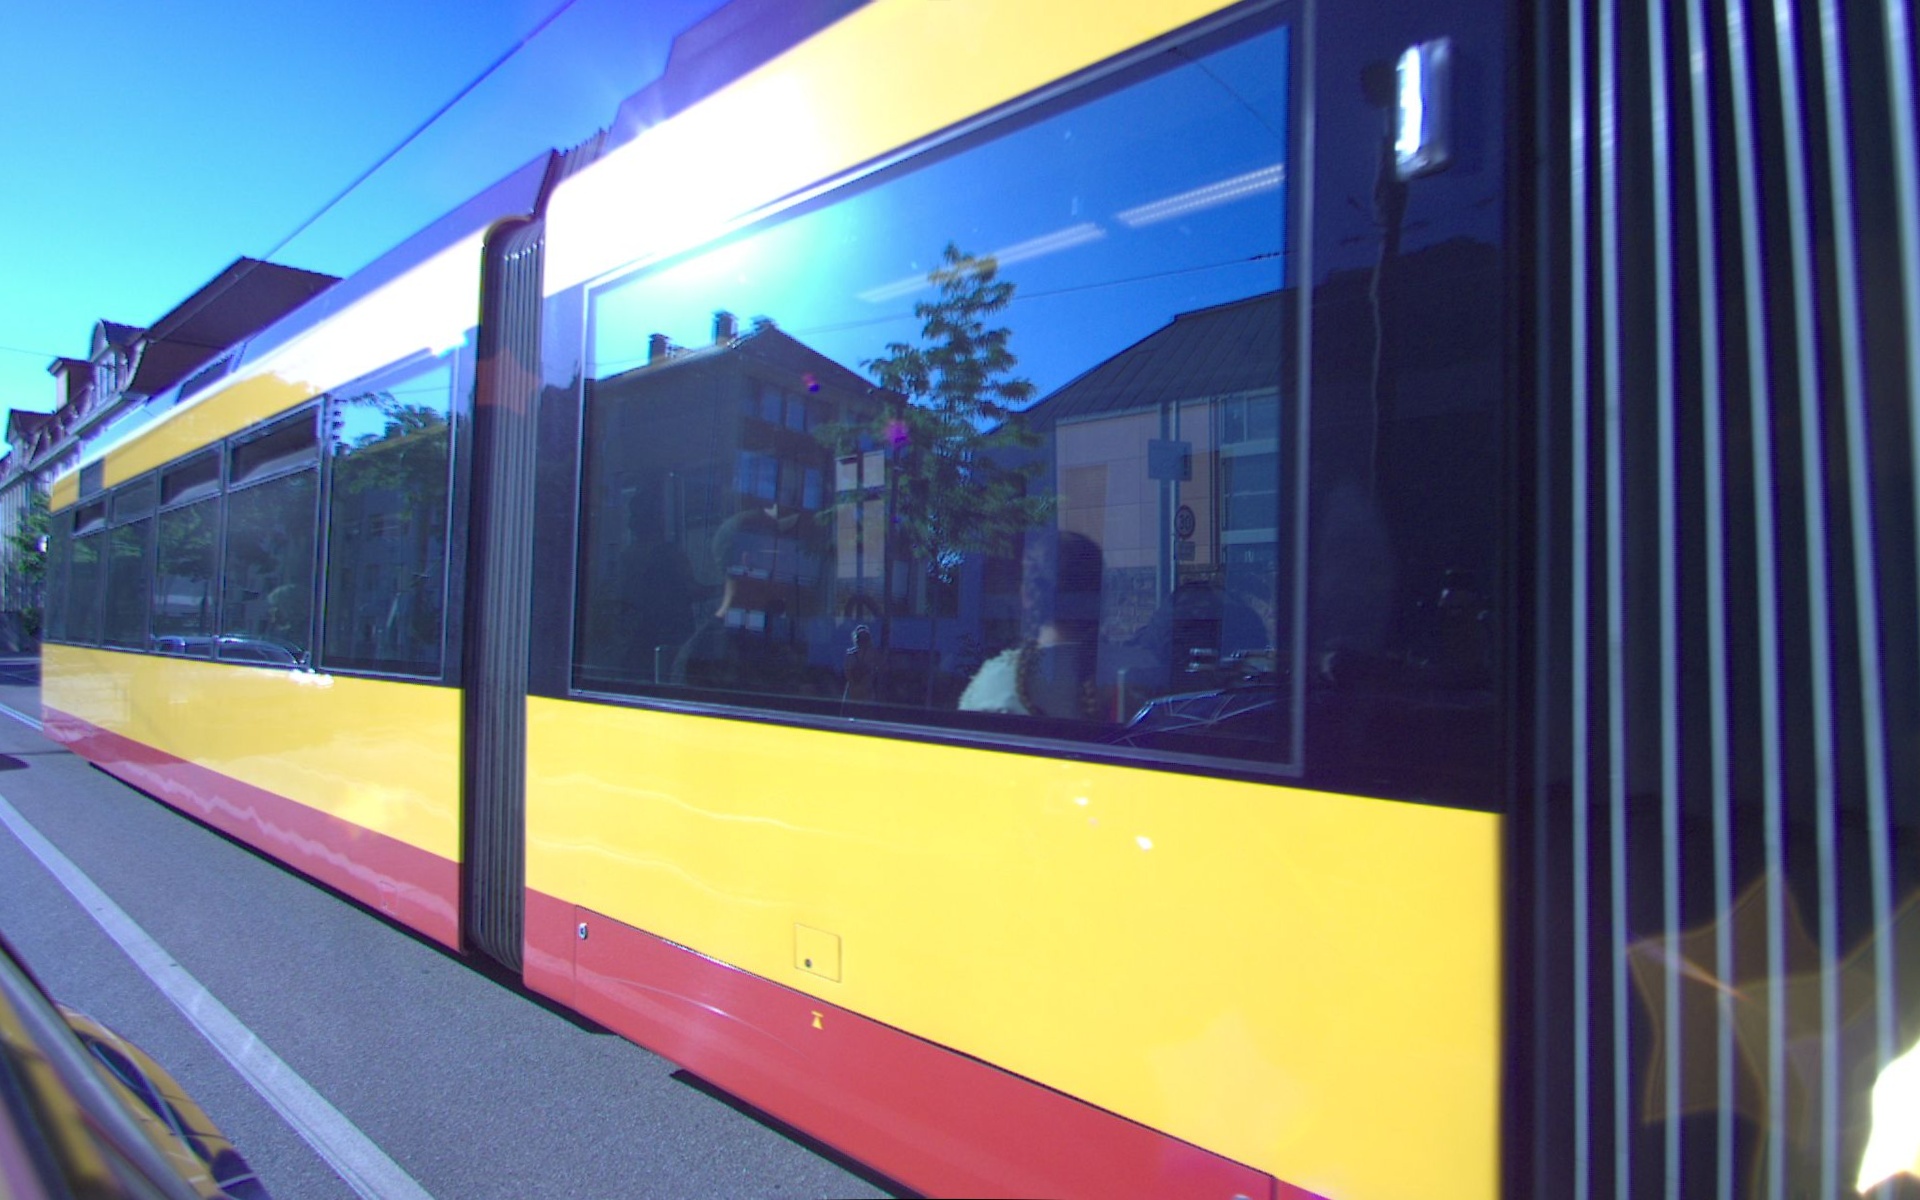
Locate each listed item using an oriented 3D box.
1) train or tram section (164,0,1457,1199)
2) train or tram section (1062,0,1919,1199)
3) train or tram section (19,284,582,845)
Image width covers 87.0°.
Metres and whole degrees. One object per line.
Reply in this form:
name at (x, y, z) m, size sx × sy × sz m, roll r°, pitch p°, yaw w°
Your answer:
train or tram section at (-1.503, -0.332, 5.088) m, size 6.665 × 3.486 × 2.774 m, roll -1°, pitch -1°, yaw 41°
train or tram section at (3.585, -0.461, 0.593) m, size 6.665 × 3.486 × 2.774 m, roll -1°, pitch -1°, yaw 41°
train or tram section at (-6.550, -0.164, 9.547) m, size 6.665 × 3.486 × 2.774 m, roll -1°, pitch -1°, yaw 41°
